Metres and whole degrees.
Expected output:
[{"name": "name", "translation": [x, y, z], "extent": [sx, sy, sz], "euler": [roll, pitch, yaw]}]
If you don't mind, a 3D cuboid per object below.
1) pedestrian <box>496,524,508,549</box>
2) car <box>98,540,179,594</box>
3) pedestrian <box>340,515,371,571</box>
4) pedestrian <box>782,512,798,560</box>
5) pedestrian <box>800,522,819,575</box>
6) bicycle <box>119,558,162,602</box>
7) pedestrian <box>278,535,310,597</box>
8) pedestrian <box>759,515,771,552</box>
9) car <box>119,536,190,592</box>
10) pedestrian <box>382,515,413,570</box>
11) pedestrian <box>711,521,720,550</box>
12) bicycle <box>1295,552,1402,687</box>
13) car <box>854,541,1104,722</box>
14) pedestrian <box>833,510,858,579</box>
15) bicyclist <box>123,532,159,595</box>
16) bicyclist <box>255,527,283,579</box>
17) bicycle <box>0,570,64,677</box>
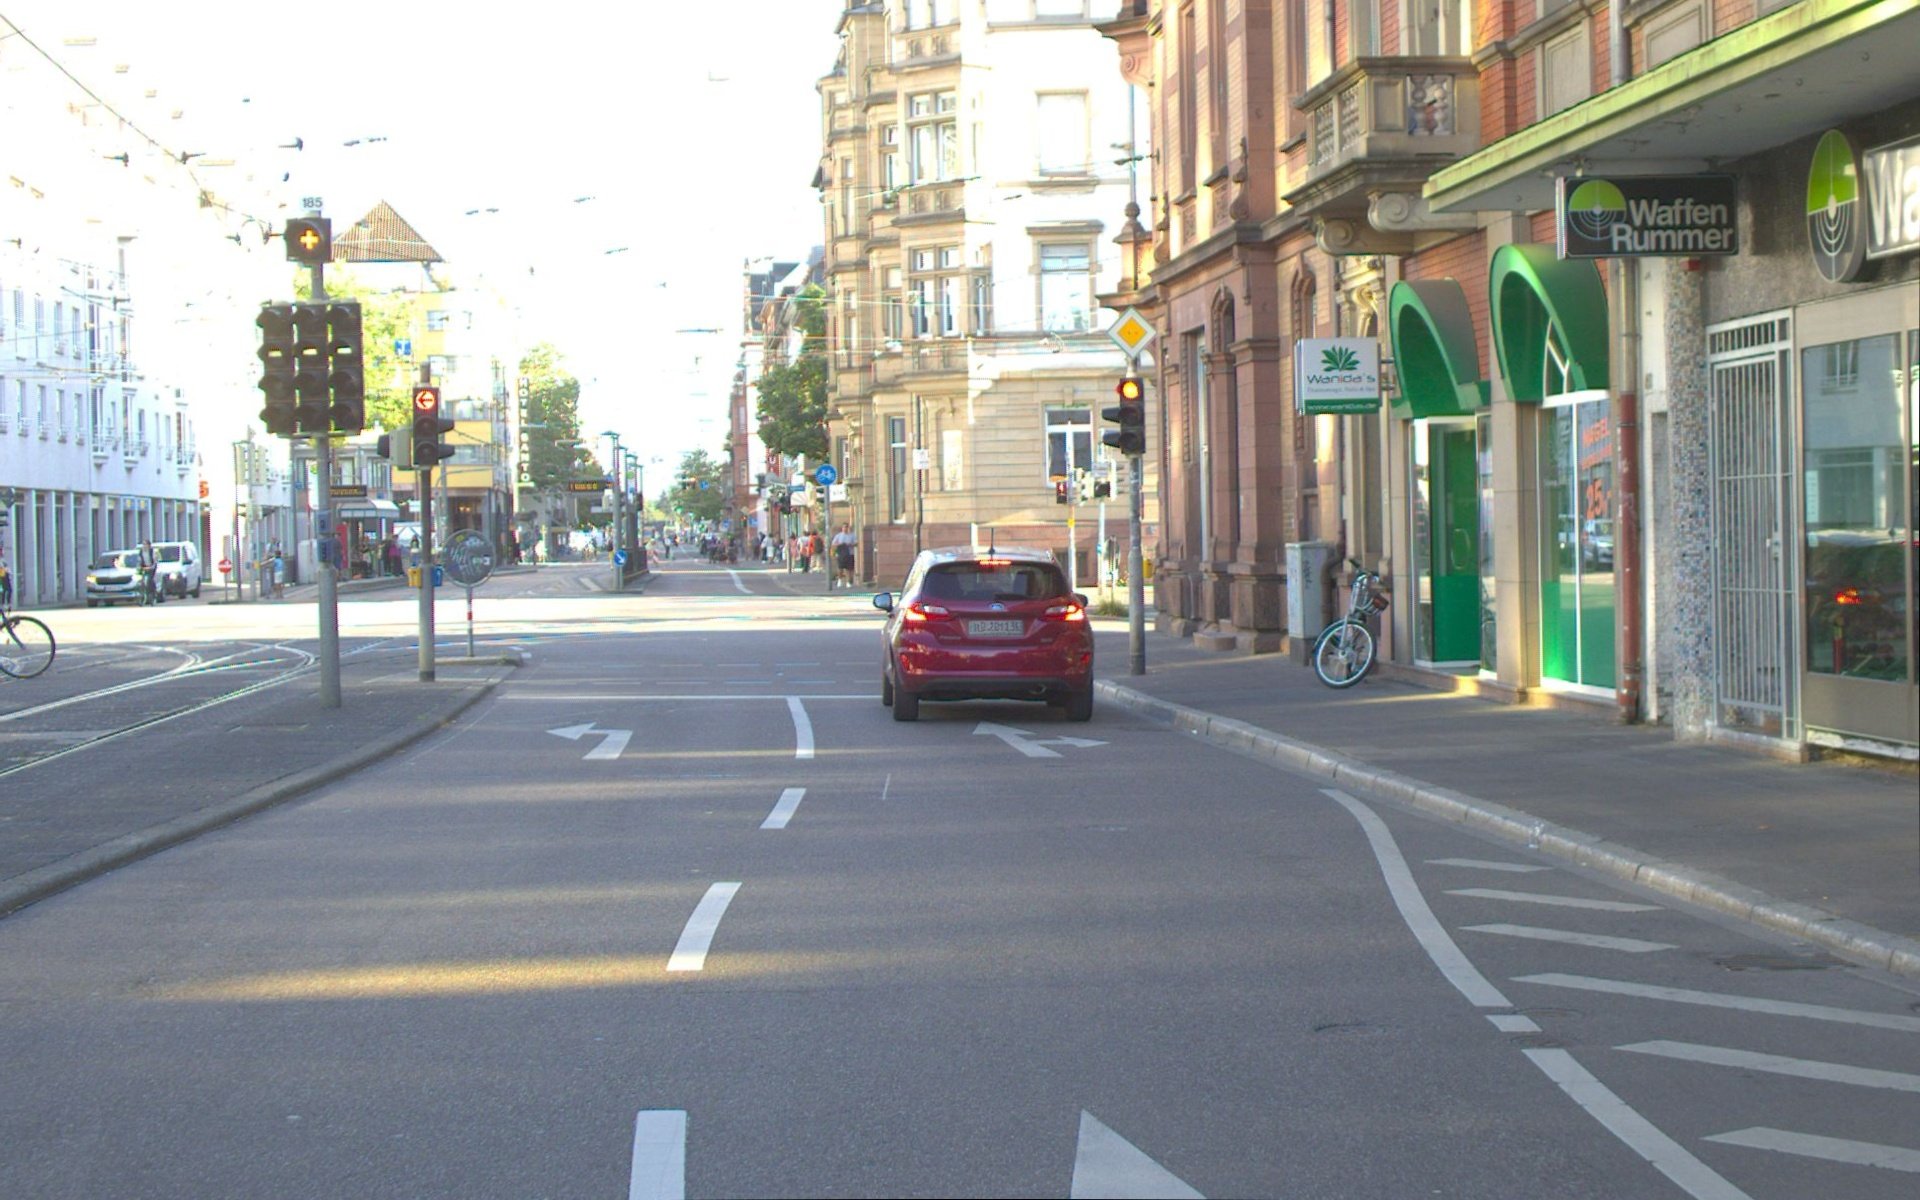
[{"name": "pedestrian", "translation": [-29.372, -4.068, 220.339], "extent": [0.628, 1.599, 0.579], "euler": [-2, 1, -21]}, {"name": "car", "translation": [-24.706, -1.018, 103.524], "extent": [1.765, 1.540, 3.461], "euler": [-1, 1, -3]}, {"name": "pedestrian", "translation": [-21.831, -2.063, 124.100], "extent": [0.956, 2.007, 1.049], "euler": [-1, 1, -4]}, {"name": "pedestrian", "translation": [-7.192, -2.717, 145.619], "extent": [0.577, 2.007, 0.631], "euler": [-1, 1, 2]}, {"name": "pedestrian", "translation": [-5.791, -1.982, 132.264], "extent": [0.646, 2.007, 0.683], "euler": [-1, 1, -4]}, {"name": "bicycle", "translation": [-22.683, -0.558, 95.166], "extent": [0.807, 1.143, 2.050], "euler": [-1, 1, -4]}, {"name": "pedestrian", "translation": [-18.745, -0.965, 96.713], "extent": [0.768, 1.724, 0.573], "euler": [-1, 1, -2]}, {"name": "pedestrian", "translation": [-10.649, -3.657, 187.887], "extent": [0.577, 2.007, 0.631], "euler": [-1, 1, -4]}, {"name": "car", "translation": [-25.862, -1.165, 110.454], "extent": [1.701, 1.712, 3.565], "euler": [-1, 1, -5]}, {"name": "pedestrian", "translation": [-20.745, -2.111, 126.803], "extent": [1.045, 2.007, 0.959], "euler": [-1, 1, -6]}, {"name": "pedestrian", "translation": [-16.220, -4.272, 227.920], "extent": [0.577, 1.880, 0.670], "euler": [-1, 1, -4]}, {"name": "bicycle", "translation": [3.586, 0.168, 31.635], "extent": [0.716, 1.148, 1.654], "euler": [-3, 1, 14]}, {"name": "car", "translation": [0.095, 0.226, 30.132], "extent": [1.754, 1.461, 3.946], "euler": [0, 1, -6]}, {"name": "pedestrian", "translation": [-3.351, -1.635, 100.853], "extent": [0.651, 2.007, 0.760], "euler": [-1, 1, -5]}, {"name": "bicyclist", "translation": [-22.707, -1.005, 95.365], "extent": [0.807, 1.720, 0.794], "euler": [-1, 1, -4]}, {"name": "bicyclist", "translation": [-24.301, -1.667, 120.946], "extent": [0.807, 1.815, 0.993], "euler": [-1, 1, -4]}, {"name": "bicycle", "translation": [-11.064, 0.267, 38.337], "extent": [2.017, 1.173, 0.628], "euler": [-1, 1, -11]}]
